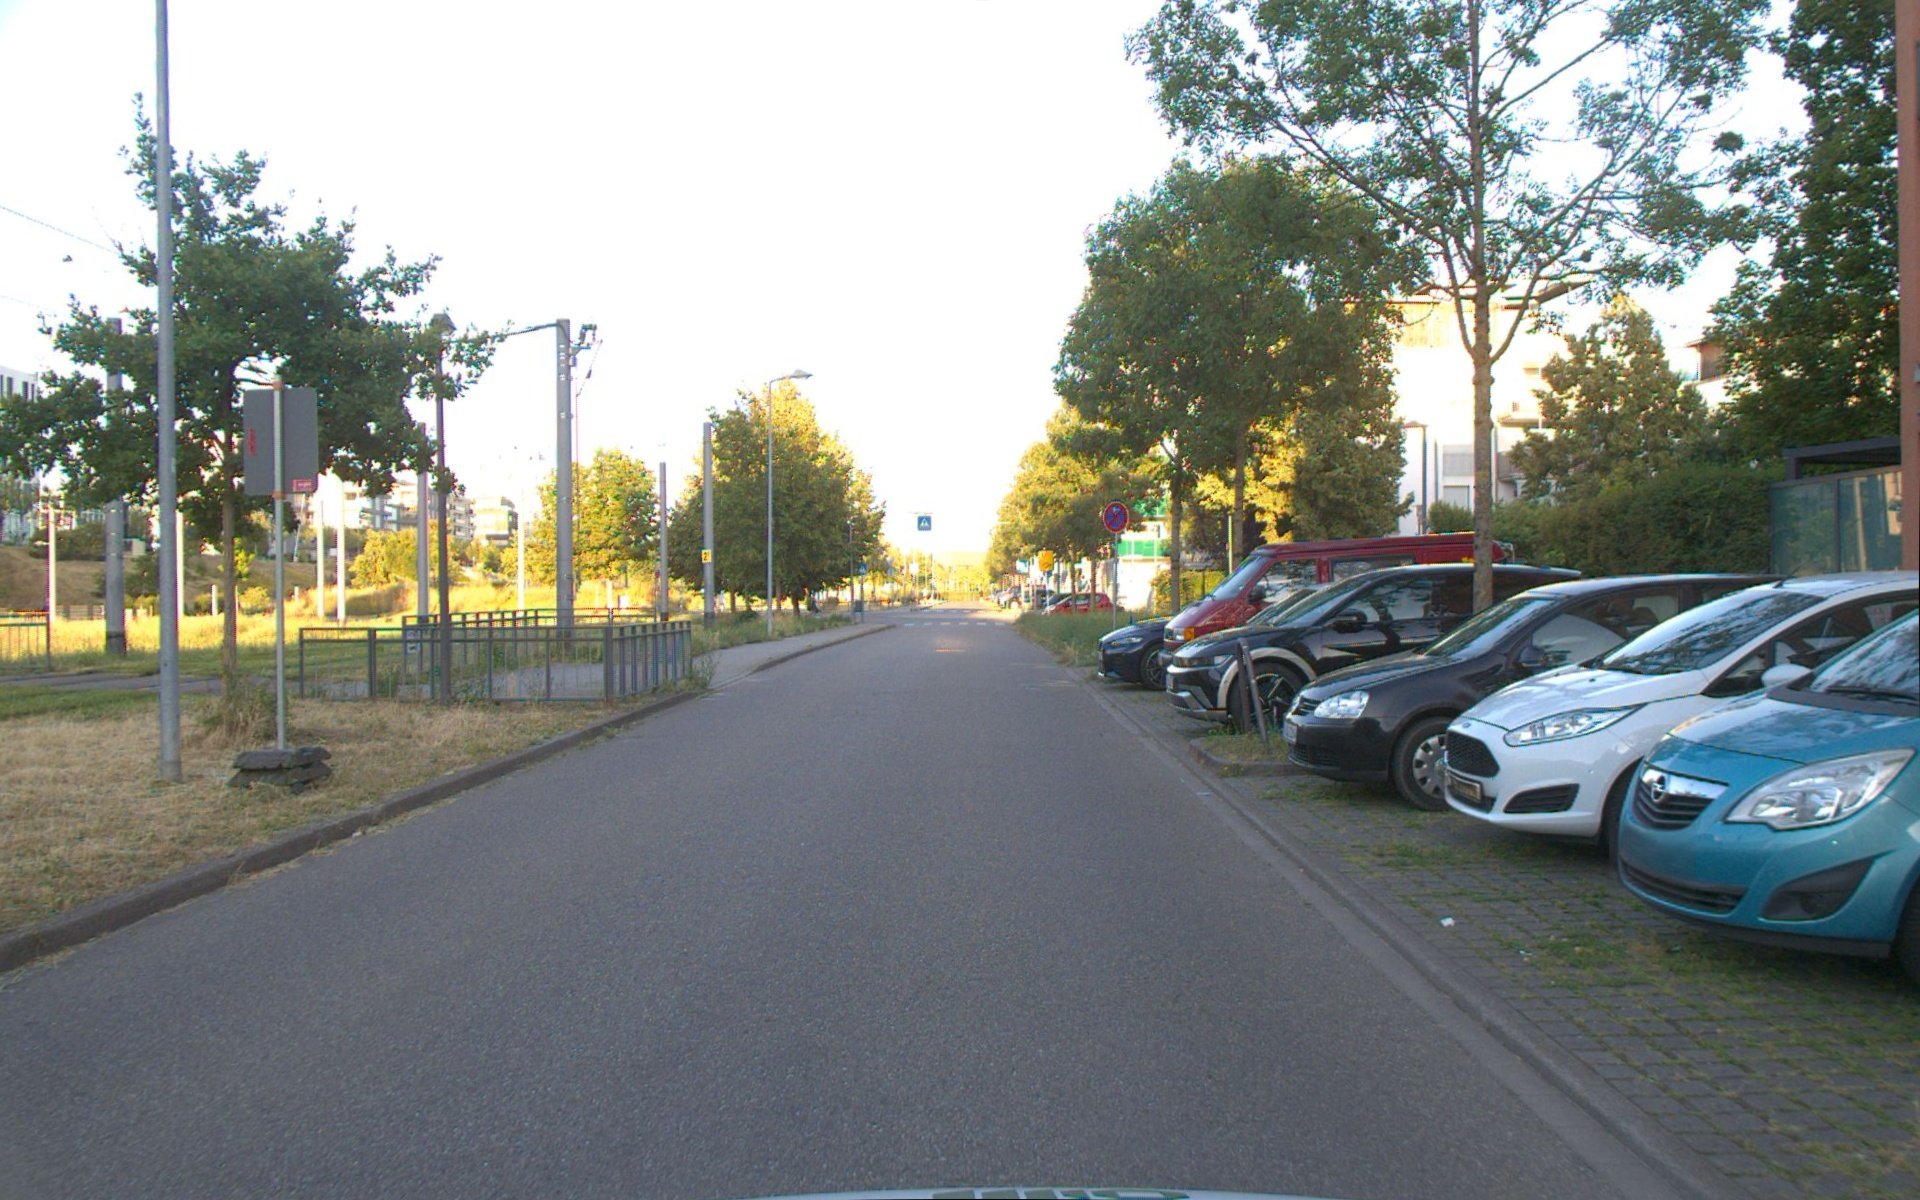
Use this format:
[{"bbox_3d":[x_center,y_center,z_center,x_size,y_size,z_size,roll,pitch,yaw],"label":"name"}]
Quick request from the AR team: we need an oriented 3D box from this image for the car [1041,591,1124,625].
[{"bbox_3d":[5.743,0.380,77.932,3.726,1.535,1.678,-1,0,-2],"label":"car"}]

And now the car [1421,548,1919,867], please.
[{"bbox_3d":[4.682,0.529,9.178,3.797,1.596,1.620,-1,0,0],"label":"car"}]

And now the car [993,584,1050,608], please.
[{"bbox_3d":[5.561,-0.370,148.925,4.904,2.081,2.248,-1,0,-4],"label":"car"}]

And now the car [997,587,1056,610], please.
[{"bbox_3d":[5.040,-0.126,125.620,4.391,1.624,2.000,-1,0,1],"label":"car"}]

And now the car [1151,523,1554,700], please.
[{"bbox_3d":[5.020,0.142,21.688,4.818,2.154,2.017,-1,0,1],"label":"car"}]

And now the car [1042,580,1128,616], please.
[{"bbox_3d":[5.667,-0.085,75.158,3.726,1.535,1.678,-1,0,-2],"label":"car"}]

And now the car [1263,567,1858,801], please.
[{"bbox_3d":[4.155,0.556,11.820,3.696,1.521,1.539,-1,0,0],"label":"car"}]

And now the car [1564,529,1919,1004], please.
[{"bbox_3d":[4.668,0.497,6.465,3.967,1.596,1.673,-2,0,0],"label":"car"}]

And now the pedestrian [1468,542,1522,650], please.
[{"bbox_3d":[8.952,-0.074,27.692,0.655,1.773,0.699,-1,0,0],"label":"pedestrian"}]

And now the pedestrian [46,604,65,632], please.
[{"bbox_3d":[-59.657,1.170,109.092,0.770,1.817,0.814,-1,0,3],"label":"pedestrian"}]

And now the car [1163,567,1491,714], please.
[{"bbox_3d":[4.235,0.452,19.429,3.453,1.490,1.615,-3,0,0],"label":"car"}]

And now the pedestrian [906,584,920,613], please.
[{"bbox_3d":[-3.283,-0.104,116.404,0.828,2.049,0.944,-1,0,6],"label":"pedestrian"}]

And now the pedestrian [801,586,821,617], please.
[{"bbox_3d":[-8.374,0.072,92.809,1.001,1.723,0.757,-1,0,-13],"label":"pedestrian"}]

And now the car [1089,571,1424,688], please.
[{"bbox_3d":[4.235,0.410,24.151,4.573,1.584,1.811,-1,0,0],"label":"car"}]

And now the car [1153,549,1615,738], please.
[{"bbox_3d":[4.125,0.408,16.586,4.129,1.596,1.792,-3,0,0],"label":"car"}]
